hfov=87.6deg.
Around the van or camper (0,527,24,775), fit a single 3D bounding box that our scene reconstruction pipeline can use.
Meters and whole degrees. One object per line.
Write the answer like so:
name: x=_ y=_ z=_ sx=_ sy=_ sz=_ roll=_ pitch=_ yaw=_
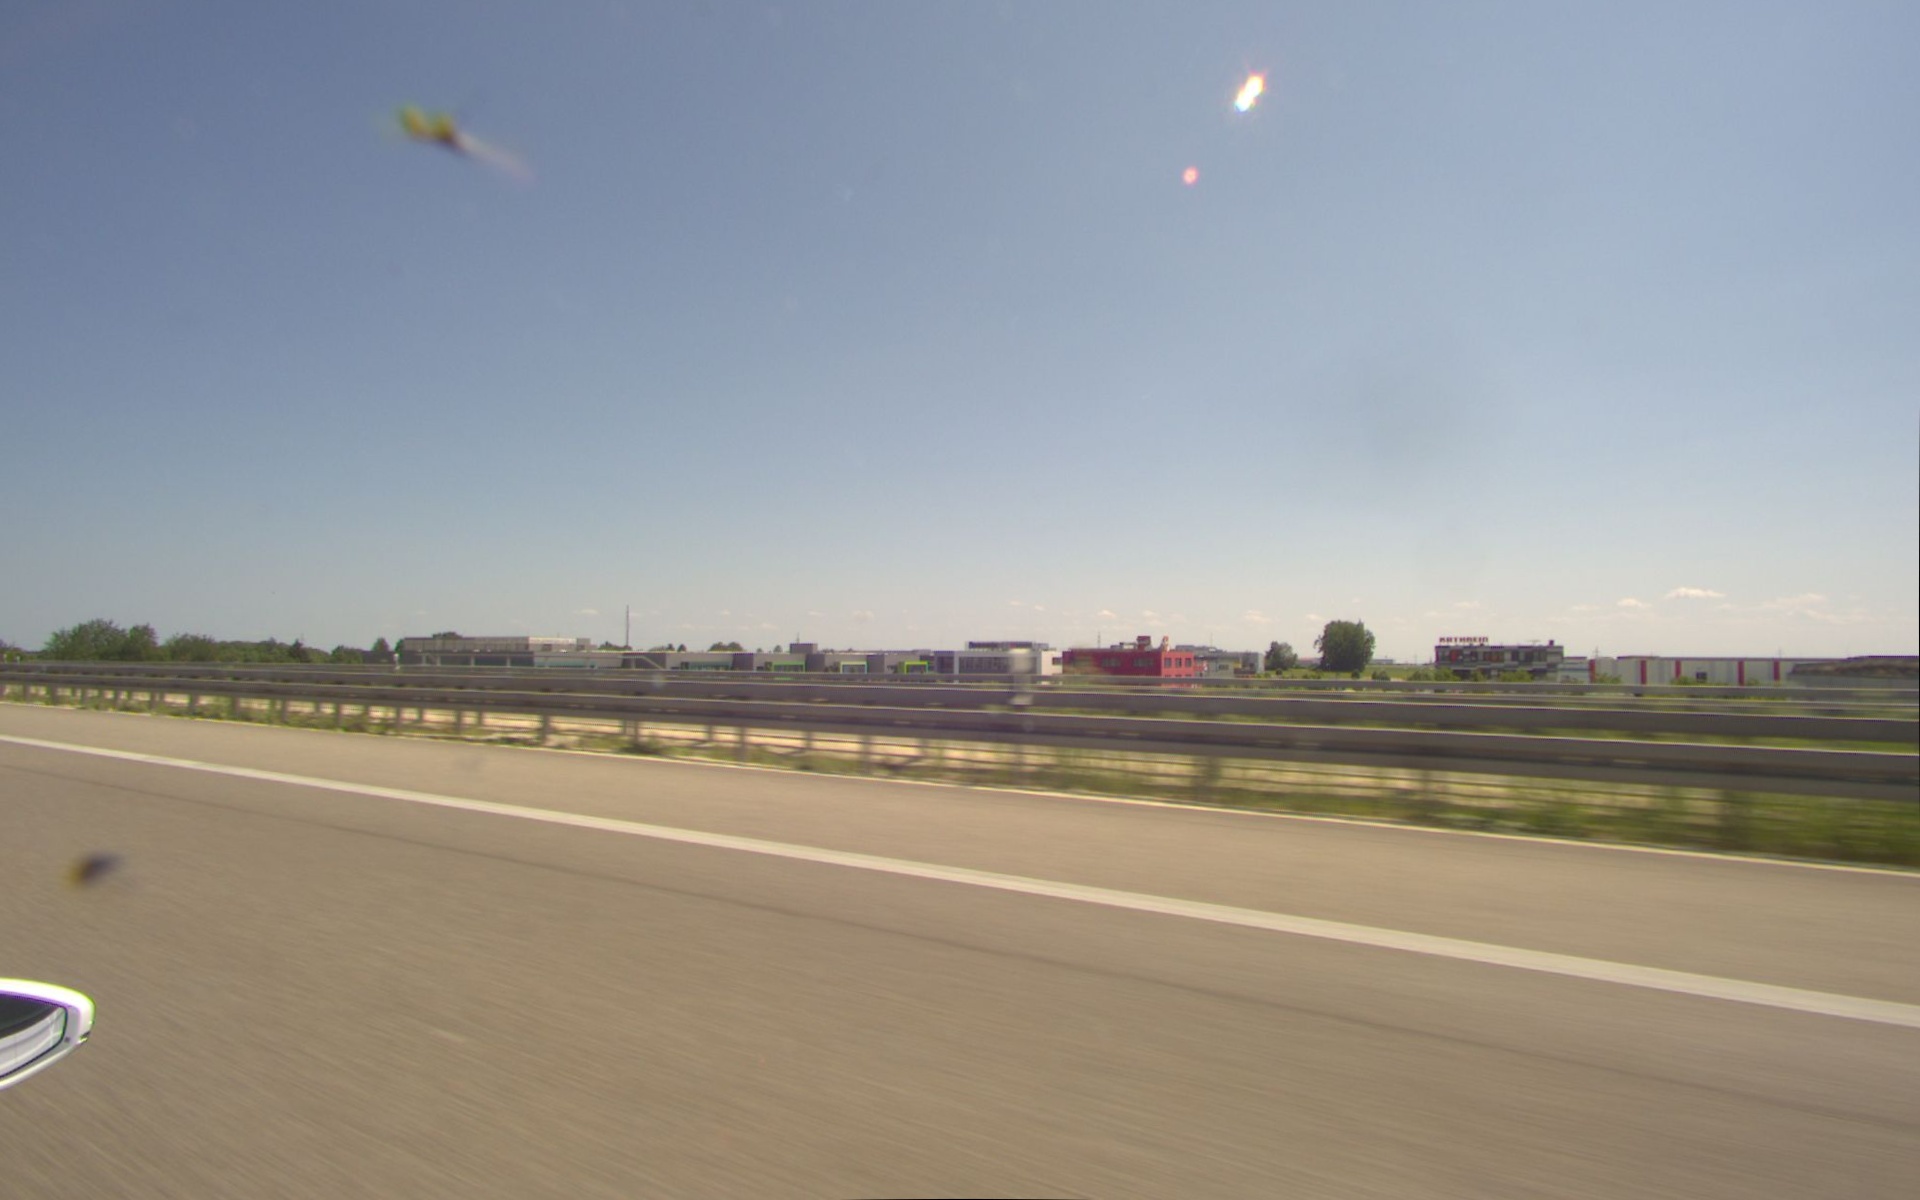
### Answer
van or camper: x=-13.989 y=0.577 z=11.818 sx=7.707 sy=2.626 sz=2.508 roll=-1 pitch=-2 yaw=33
